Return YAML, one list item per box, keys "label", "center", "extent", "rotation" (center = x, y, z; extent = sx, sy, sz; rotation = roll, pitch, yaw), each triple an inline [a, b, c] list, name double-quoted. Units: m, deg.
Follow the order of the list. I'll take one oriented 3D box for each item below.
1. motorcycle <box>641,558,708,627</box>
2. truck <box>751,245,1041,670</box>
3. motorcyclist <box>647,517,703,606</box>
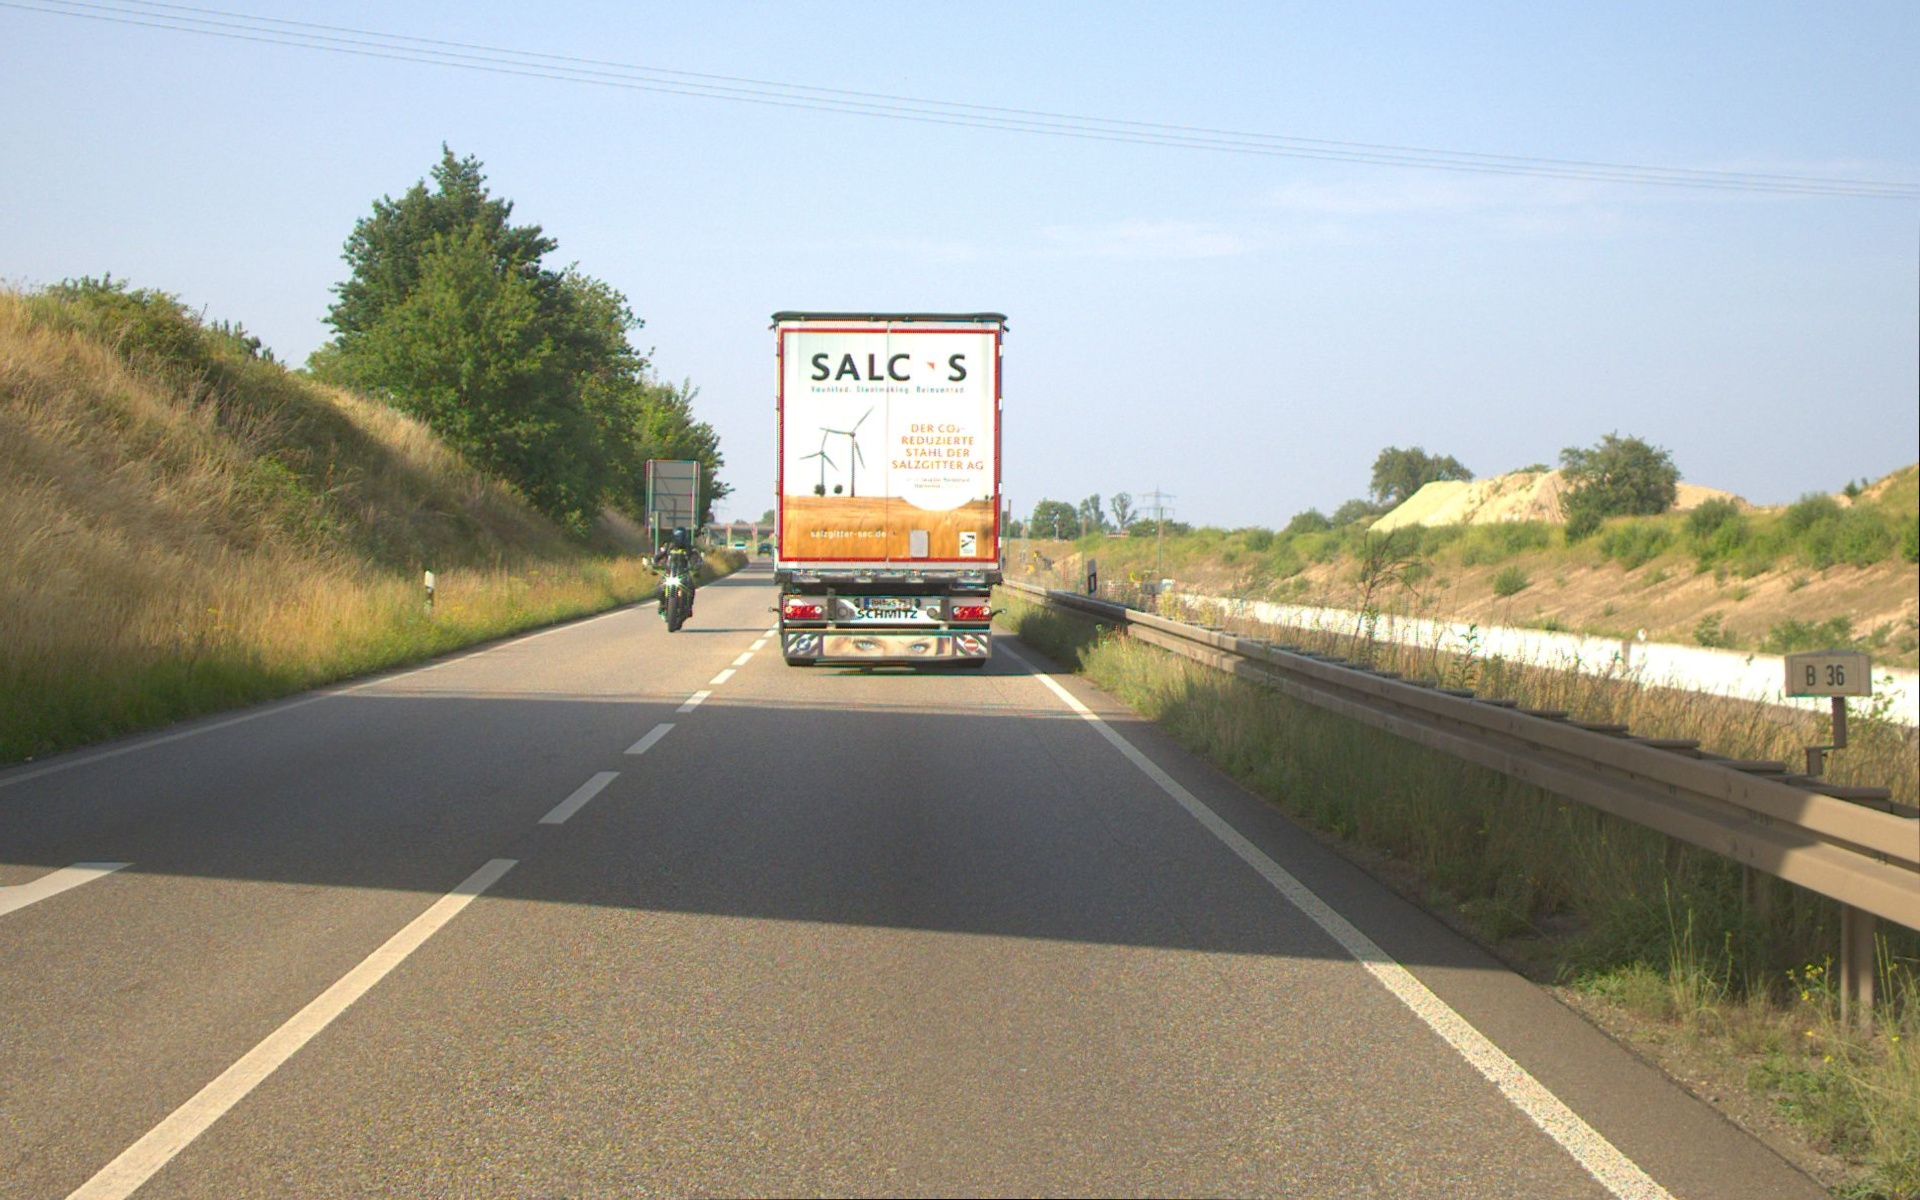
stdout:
- label: "motorcycle"
  center: [-4.719, -0.131, 56.940]
  extent: [1.041, 1.113, 2.133]
  rotation: [0, 1, -3]
- label: "truck"
  center: [-0.939, -1.638, 42.383]
  extent: [3.152, 4.672, 8.442]
  rotation: [1, 1, -3]
- label: "motorcyclist"
  center: [-4.718, -0.640, 56.982]
  extent: [0.879, 1.446, 1.284]
  rotation: [0, 1, -3]
